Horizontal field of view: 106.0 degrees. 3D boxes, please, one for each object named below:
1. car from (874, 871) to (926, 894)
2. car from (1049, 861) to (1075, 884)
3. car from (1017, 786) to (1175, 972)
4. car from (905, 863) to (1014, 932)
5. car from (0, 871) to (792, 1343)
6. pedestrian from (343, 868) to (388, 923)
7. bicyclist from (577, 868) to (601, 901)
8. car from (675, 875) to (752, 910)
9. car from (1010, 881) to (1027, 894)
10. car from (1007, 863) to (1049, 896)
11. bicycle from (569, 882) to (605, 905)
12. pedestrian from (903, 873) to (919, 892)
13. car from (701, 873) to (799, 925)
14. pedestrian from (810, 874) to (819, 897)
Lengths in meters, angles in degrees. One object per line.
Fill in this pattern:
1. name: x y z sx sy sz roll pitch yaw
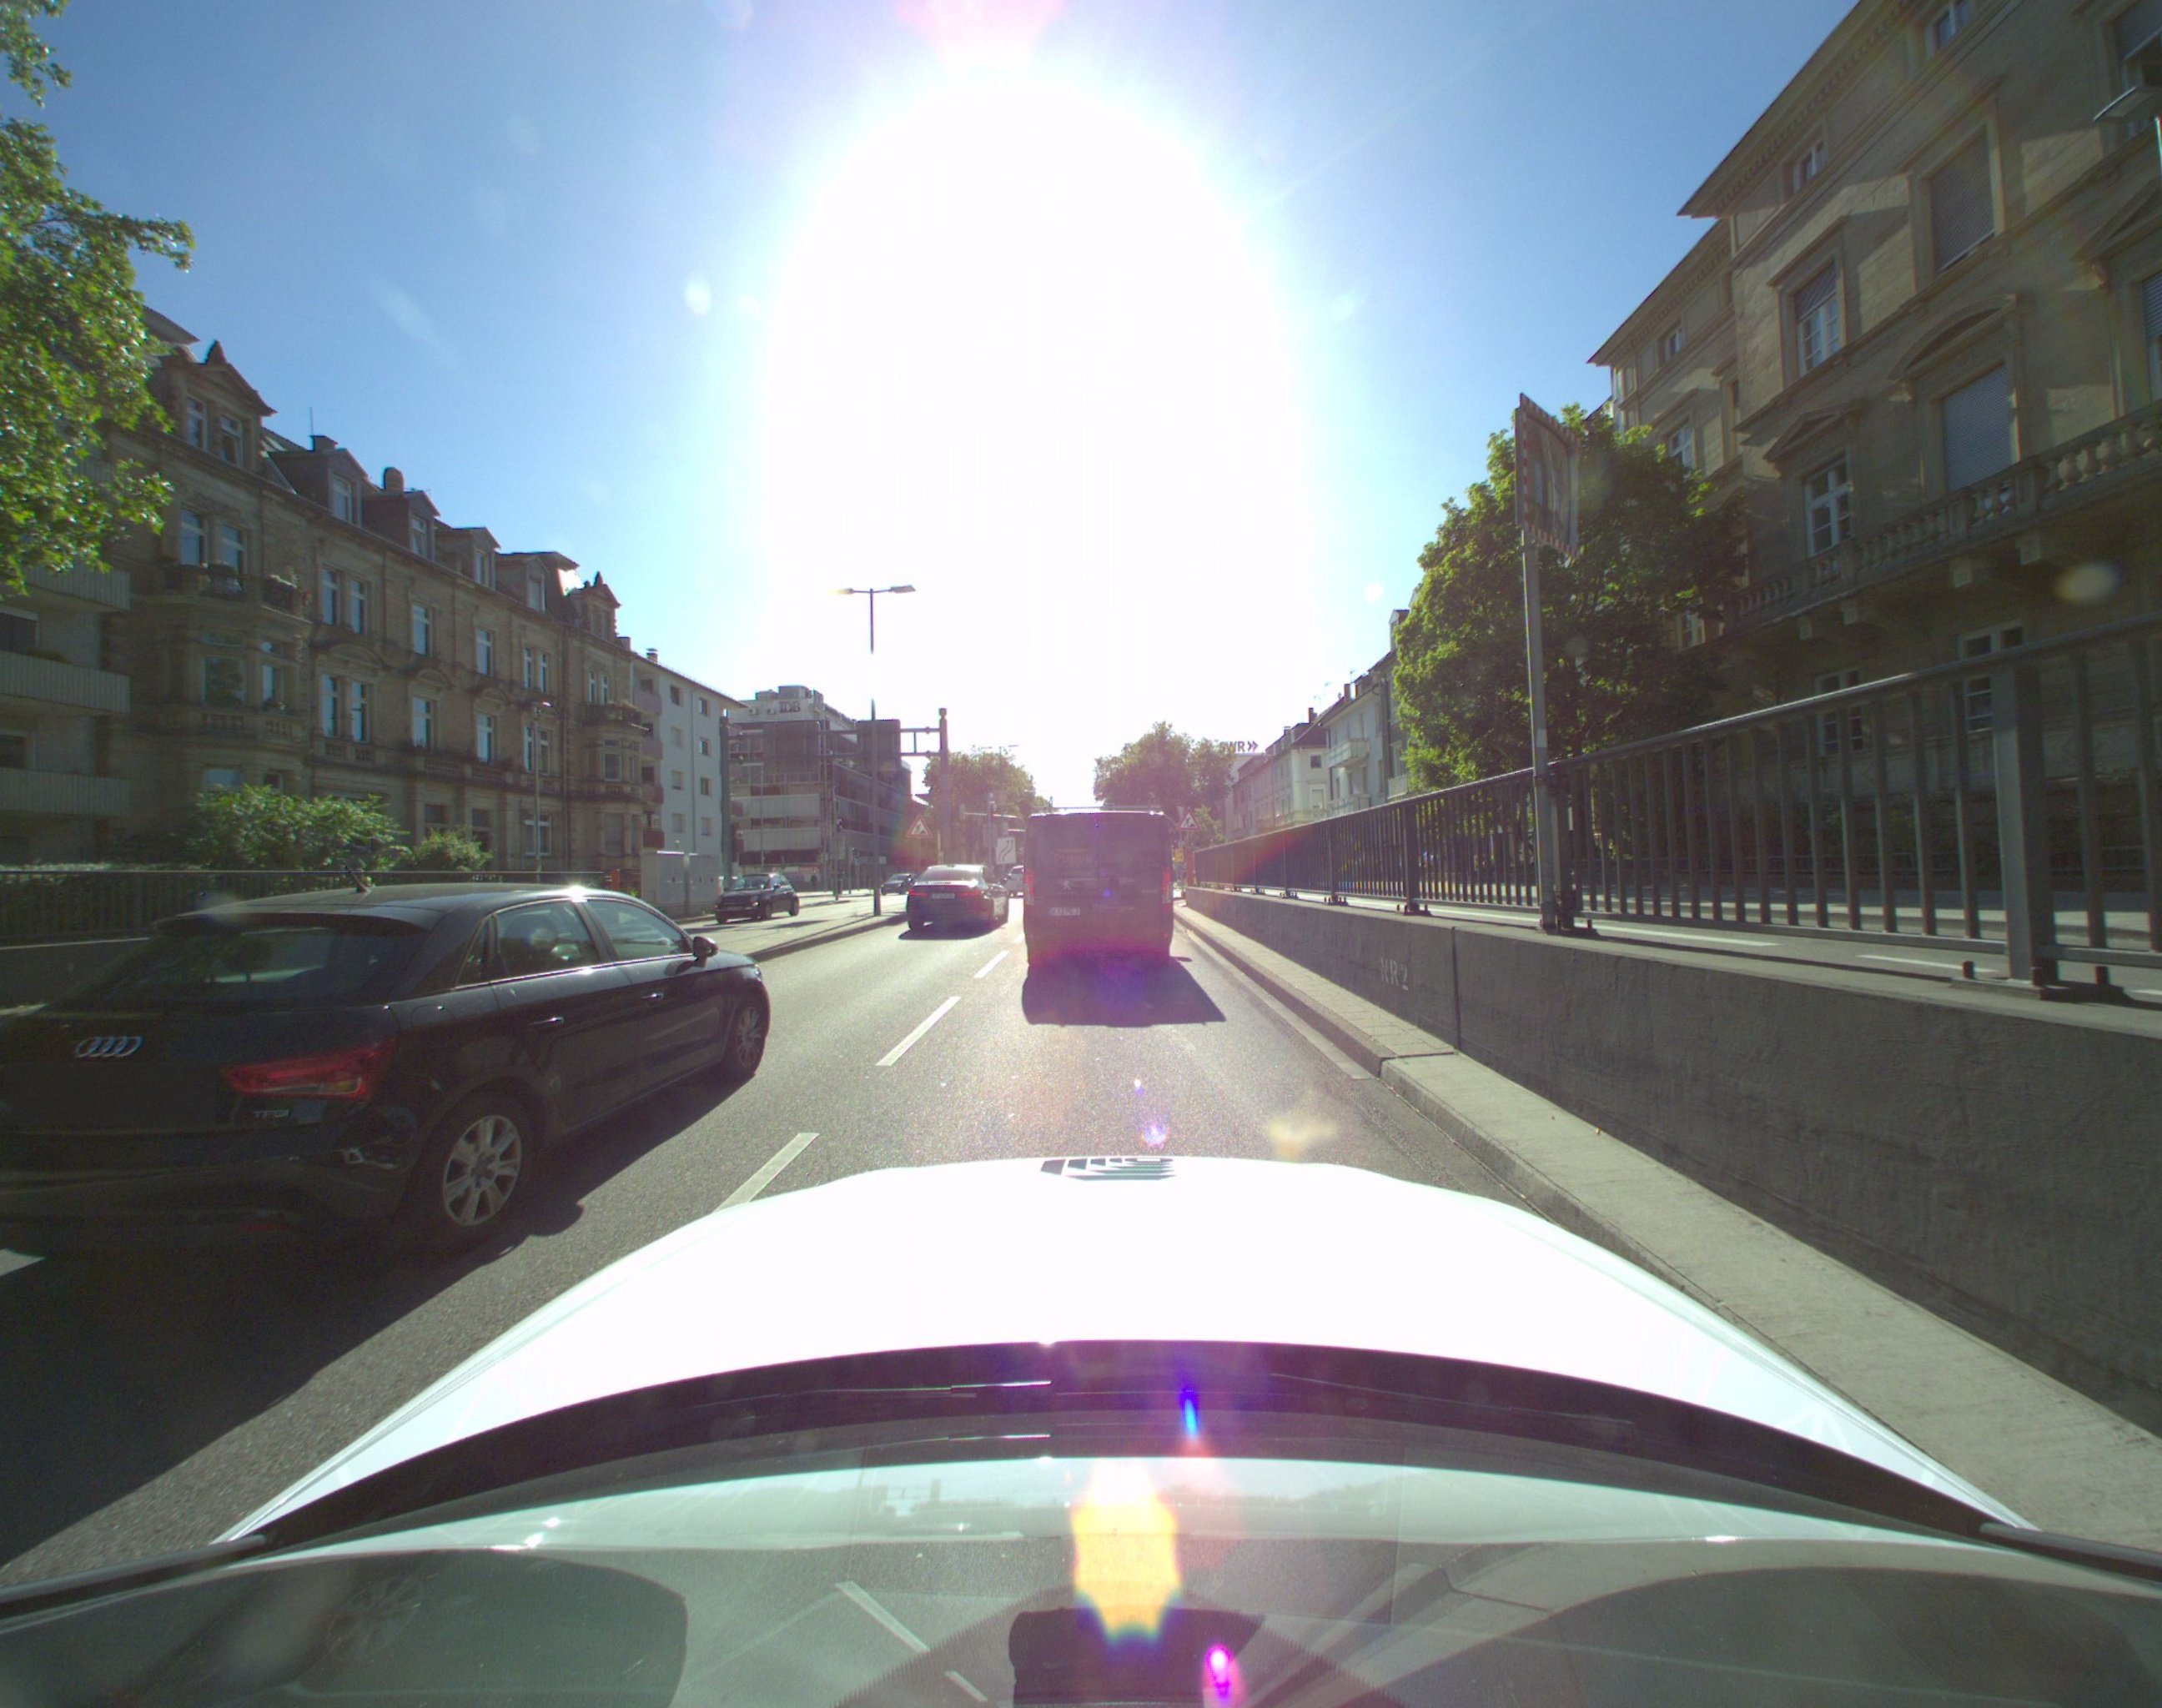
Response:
1. car: -12.632 1.960 57.016 1.922 1.555 3.939 -1 -1 15
2. car: -1.290 1.281 56.927 1.683 1.483 3.319 0 0 1
3. car: 0.244 0.346 12.674 2.023 2.402 3.973 -1 -1 1
4. car: -2.775 0.940 19.665 1.802 1.439 5.002 0 -1 1
5. car: -3.158 0.825 4.478 1.690 1.419 3.888 0 -1 1
6. pedestrian: -22.555 1.288 25.681 0.633 1.706 0.834 0 -1 1
7. bicyclist: -25.077 1.536 41.526 0.585 1.659 0.951 0 -1 1
8. car: -16.304 1.659 36.304 1.670 1.409 3.616 -1 -1 1
9. car: -8.239 4.375 107.630 1.929 1.555 3.924 0 -1 2
10. car: -2.452 1.145 38.271 1.613 1.403 3.853 0 0 1
11. bicycle: -25.079 1.983 41.397 0.585 1.104 1.974 0 -1 1
12. pedestrian: -17.242 2.876 82.690 1.327 1.931 1.026 0 -1 1
13. car: -10.608 1.398 26.358 1.586 1.445 3.496 -4 -1 1
14. pedestrian: -22.627 2.668 69.139 0.659 1.896 0.720 0 -1 -11
